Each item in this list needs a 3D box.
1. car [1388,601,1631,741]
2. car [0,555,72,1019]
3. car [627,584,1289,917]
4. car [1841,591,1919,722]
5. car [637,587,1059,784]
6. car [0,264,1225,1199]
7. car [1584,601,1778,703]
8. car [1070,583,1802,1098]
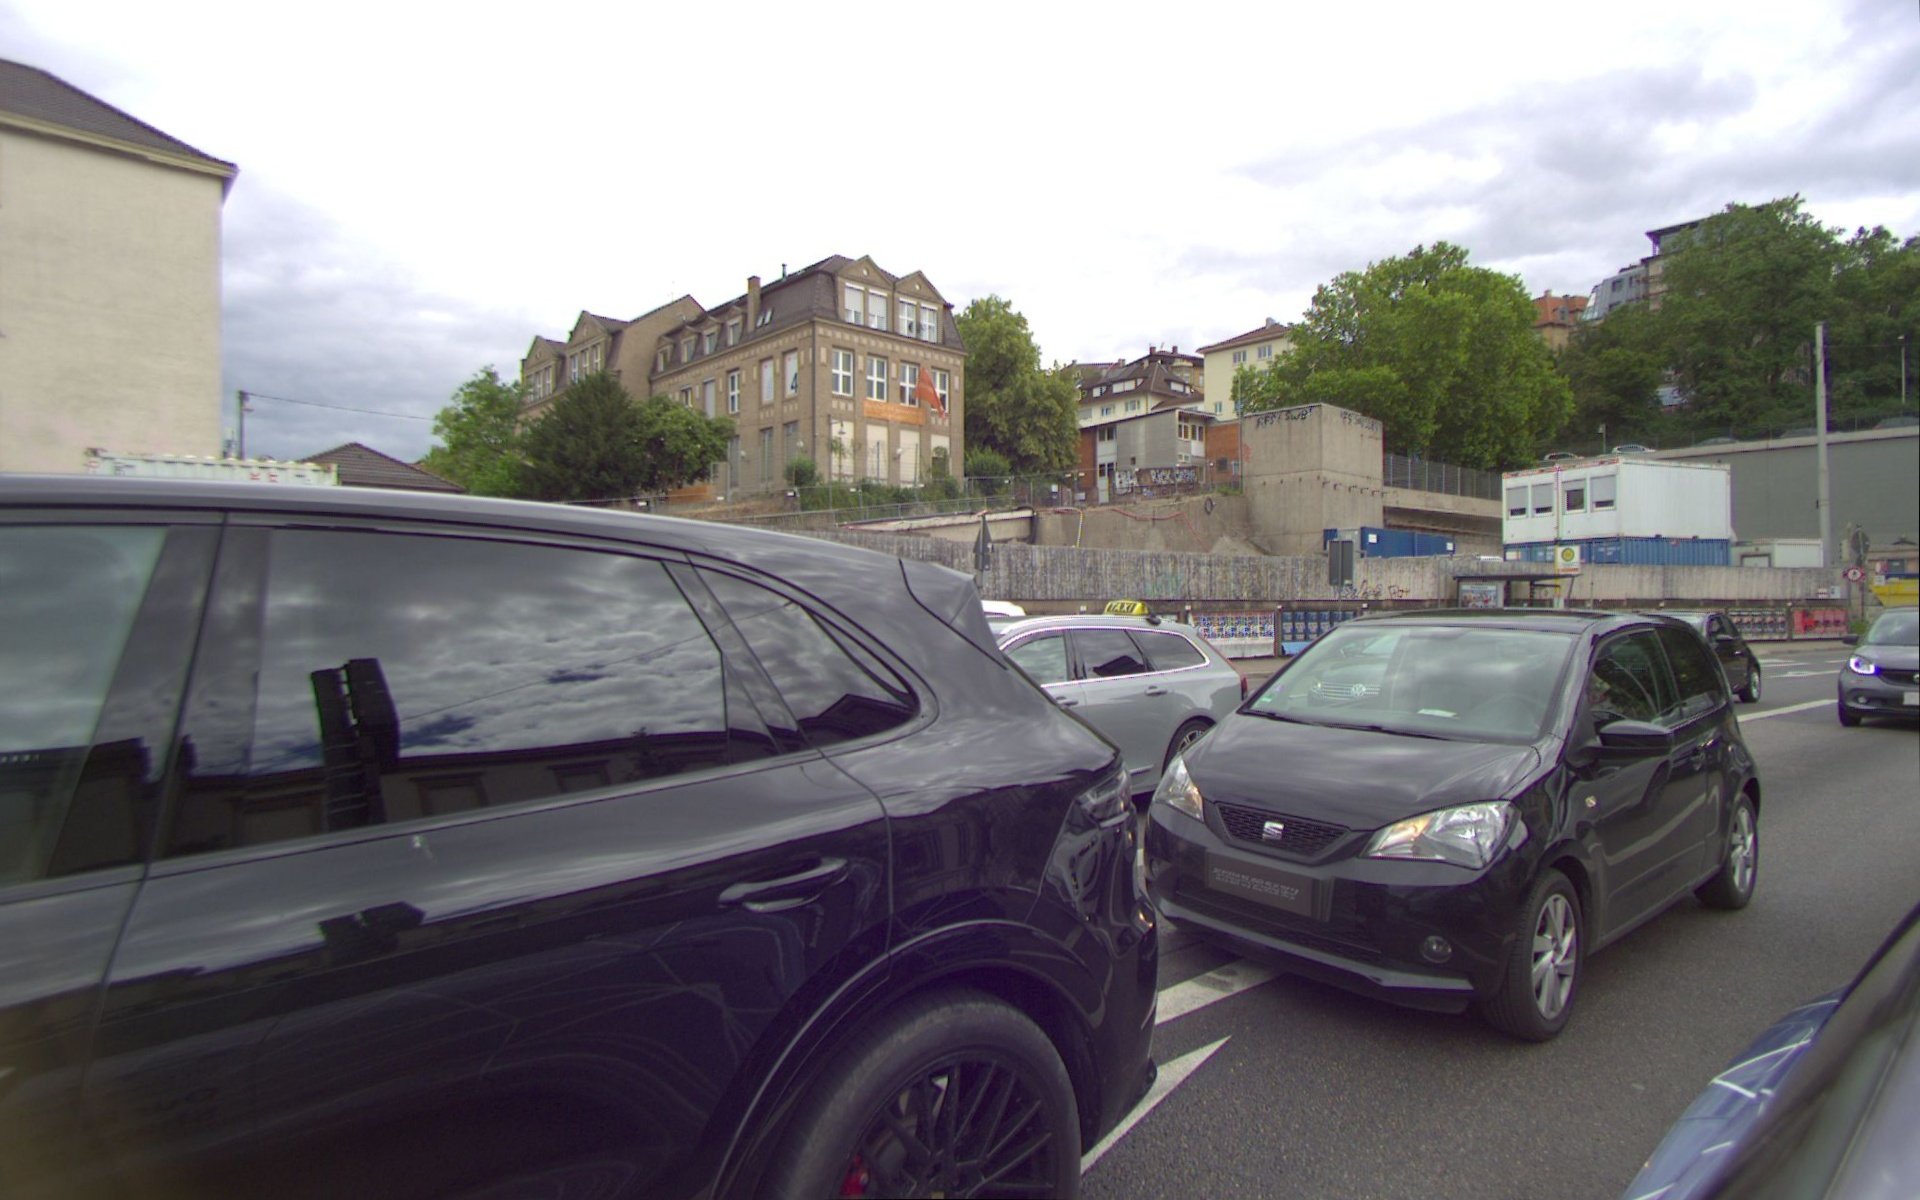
[{"bbox_3d":[6.821,0.765,12.478,3.100,1.449,1.664,-1,0,-41],"label":"car"},{"bbox_3d":[-5.308,0.678,3.041,3.930,1.645,1.679,-1,0,-41],"label":"car"},{"bbox_3d":[0.265,0.719,7.264,4.725,1.645,1.827,-1,0,-41],"label":"car"},{"bbox_3d":[12.871,0.679,13.071,3.511,1.563,1.720,0,0,-40],"label":"car"},{"bbox_3d":[-1.011,0.694,10.480,4.136,1.645,1.679,-1,0,-41],"label":"car"},{"bbox_3d":[-1.645,0.537,1.586,4.406,1.736,1.827,-1,0,-41],"label":"car"},{"bbox_3d":[11.503,0.731,16.058,3.740,1.383,1.679,-1,0,-41],"label":"car"},{"bbox_3d":[2.433,0.667,4.793,3.636,1.476,1.827,-1,0,-41],"label":"car"}]
